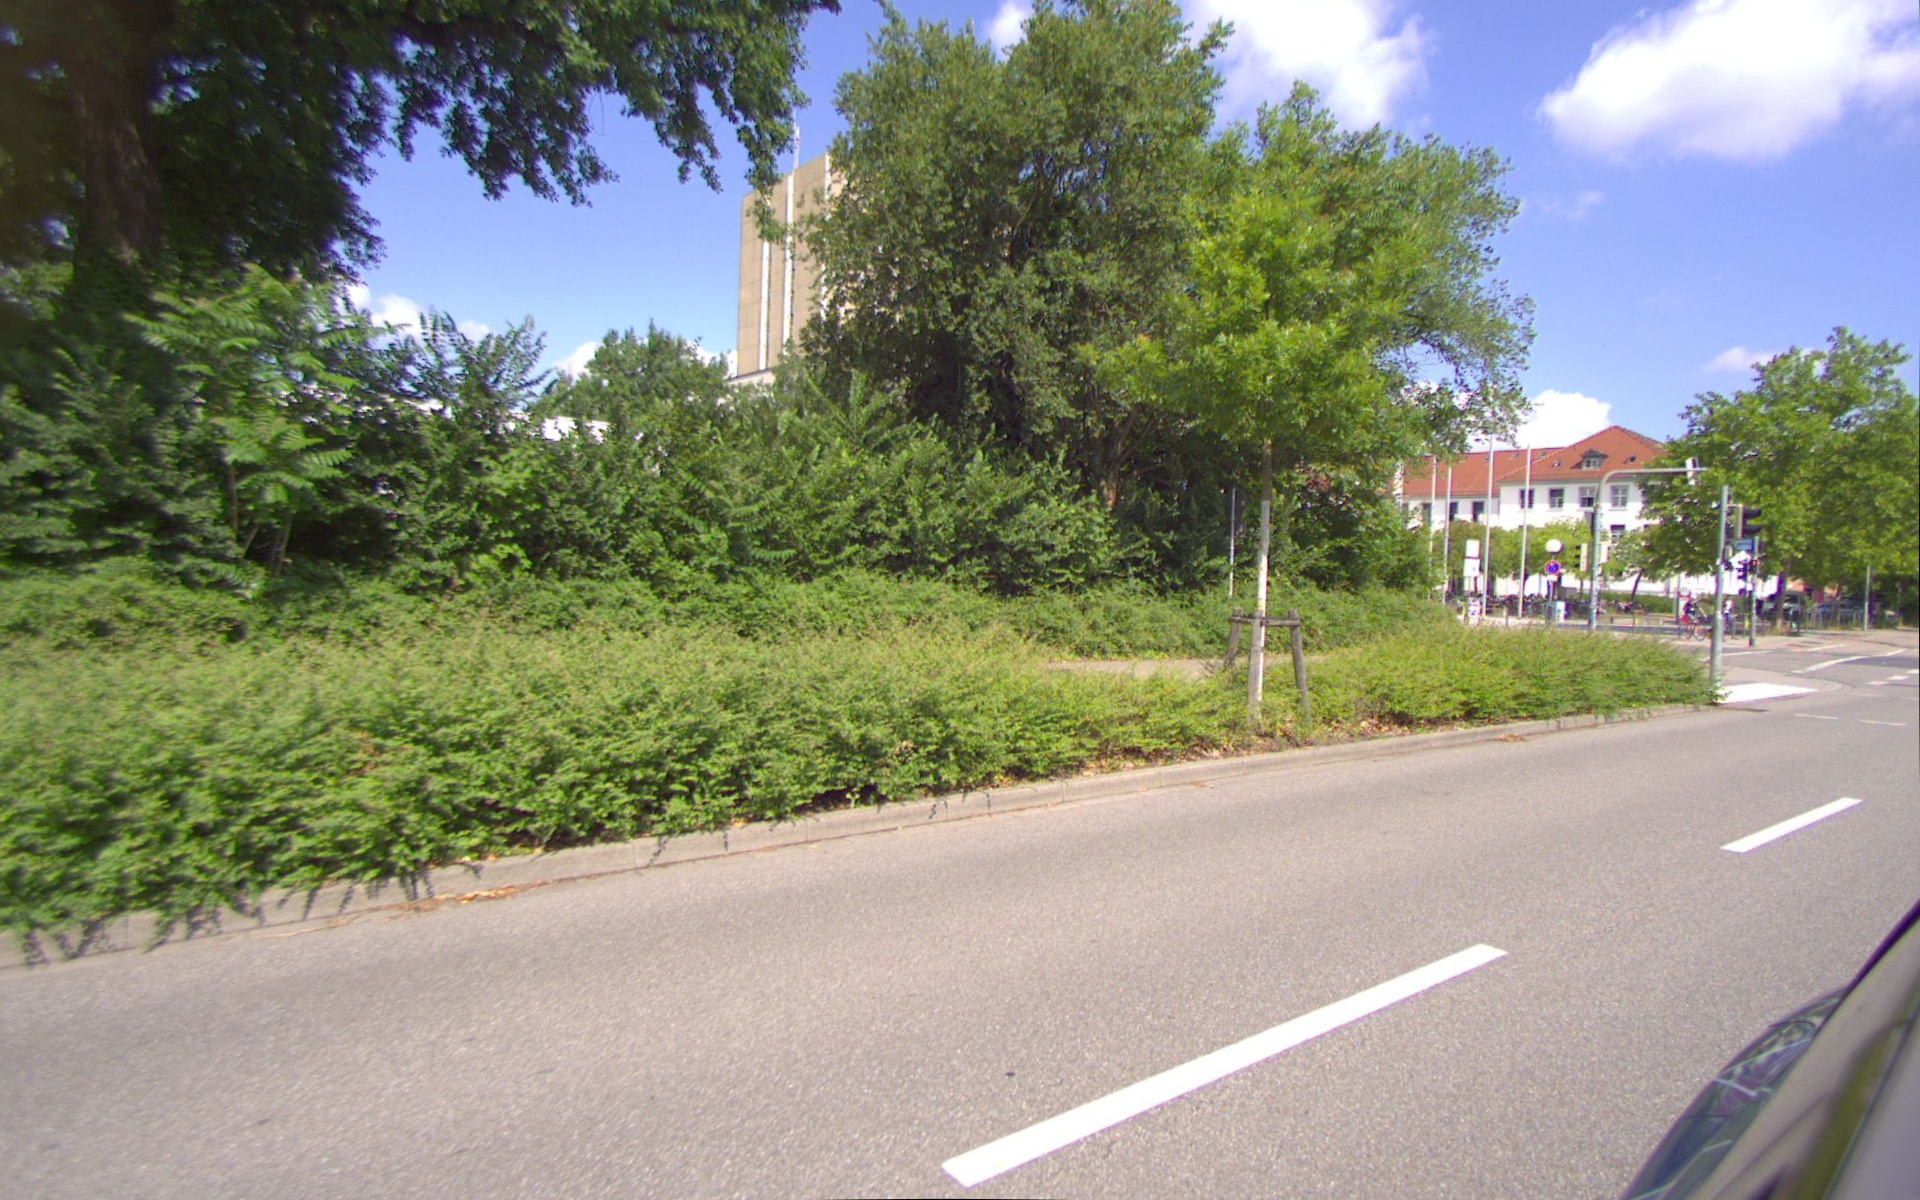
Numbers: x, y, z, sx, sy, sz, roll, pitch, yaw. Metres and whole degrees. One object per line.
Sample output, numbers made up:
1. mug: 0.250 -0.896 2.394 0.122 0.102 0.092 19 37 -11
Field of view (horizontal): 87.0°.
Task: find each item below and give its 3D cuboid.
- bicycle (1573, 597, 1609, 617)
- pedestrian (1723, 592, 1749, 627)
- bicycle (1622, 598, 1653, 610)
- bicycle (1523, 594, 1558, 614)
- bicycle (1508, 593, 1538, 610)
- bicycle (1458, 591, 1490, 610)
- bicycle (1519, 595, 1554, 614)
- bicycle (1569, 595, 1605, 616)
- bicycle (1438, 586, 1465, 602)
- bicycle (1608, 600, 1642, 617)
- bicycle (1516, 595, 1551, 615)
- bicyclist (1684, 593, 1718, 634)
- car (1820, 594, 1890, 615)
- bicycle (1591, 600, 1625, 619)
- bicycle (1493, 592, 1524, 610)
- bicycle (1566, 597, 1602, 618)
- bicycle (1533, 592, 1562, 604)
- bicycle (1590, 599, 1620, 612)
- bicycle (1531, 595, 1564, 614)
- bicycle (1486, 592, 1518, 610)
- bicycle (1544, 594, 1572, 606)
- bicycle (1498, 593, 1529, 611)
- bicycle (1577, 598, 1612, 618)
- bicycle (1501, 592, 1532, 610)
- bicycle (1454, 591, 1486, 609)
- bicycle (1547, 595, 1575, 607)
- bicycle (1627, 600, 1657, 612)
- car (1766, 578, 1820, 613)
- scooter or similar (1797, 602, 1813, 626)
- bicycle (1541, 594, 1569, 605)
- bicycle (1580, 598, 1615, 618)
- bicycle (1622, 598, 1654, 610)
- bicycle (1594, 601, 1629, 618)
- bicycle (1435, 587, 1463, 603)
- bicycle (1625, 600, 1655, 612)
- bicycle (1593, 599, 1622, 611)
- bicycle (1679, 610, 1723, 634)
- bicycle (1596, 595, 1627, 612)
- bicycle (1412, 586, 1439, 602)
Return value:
1. bicycle: 37.476 0.408 60.094 0.616 1.110 1.669 1 2 -44
2. pedestrian: 38.865 0.476 50.695 0.627 1.670 0.742 2 1 0
3. bicycle: 46.995 0.264 70.193 0.616 0.743 1.669 1 2 -44
4. bicycle: 35.005 0.253 61.046 0.616 1.110 1.669 1 2 -44
5. bicycle: 37.922 0.093 68.169 0.616 1.110 1.669 1 2 -44
6. bicycle: 32.809 0.010 64.591 0.616 1.110 1.669 1 2 -45
7. bicycle: 34.488 0.265 60.554 0.616 1.110 1.669 1 2 -44
8. bicycle: 36.978 0.316 59.656 0.616 1.110 1.669 1 2 -44
9. bicycle: 36.514 -0.441 75.152 0.616 1.110 1.669 1 2 -44
10. bicycle: 42.641 0.542 64.892 0.616 1.040 1.669 1 2 -44
11. bicycle: 33.984 0.280 60.027 0.616 1.110 1.669 1 2 -44
12. bicyclist: 28.818 0.529 39.357 0.601 1.526 0.919 2 1 3
13. car: 69.024 0.325 78.123 3.986 1.442 1.731 3 2 42
14. bicycle: 39.757 0.570 62.110 0.616 1.048 1.669 1 2 -44
15. bicycle: 35.987 0.061 66.382 0.616 1.110 1.669 1 2 -44
16. bicycle: 36.503 0.446 59.212 0.616 1.110 1.669 1 2 -44
17. bicycle: 42.525 -0.161 73.283 0.616 0.800 1.669 1 2 -44
18. bicycle: 45.079 0.360 70.750 1.668 0.800 0.617 3 2 44
19. bicycle: 36.493 0.299 62.854 0.616 1.110 1.669 1 2 -44
20. bicycle: 35.188 0.058 65.697 0.616 1.110 1.669 1 2 -44
21. bicycle: 44.439 0.004 75.153 0.616 0.800 1.669 1 2 -44
22. bicycle: 36.703 0.130 67.119 0.616 1.110 1.669 1 2 -44
23. bicycle: 38.163 0.475 60.892 0.616 1.110 1.669 1 2 -44
24. bicycle: 37.205 0.079 67.664 0.616 1.110 1.669 1 2 -44
25. bicycle: 32.340 -0.004 64.159 0.616 1.110 1.669 1 2 -45
26. bicycle: 44.945 0.064 75.707 0.616 0.800 1.669 1 2 -44
27. bicycle: 48.238 0.398 71.560 0.616 0.743 1.669 1 2 -44
28. car: 52.199 -0.264 63.376 4.821 2.038 1.996 1 2 -44
29. scooter or similar: 41.959 0.702 50.251 1.146 1.142 0.348 1 1 -39
30. bicycle: 43.651 -0.037 74.292 0.616 0.800 1.669 1 2 -44
31. bicycle: 38.640 0.470 61.361 0.616 1.110 1.669 1 2 -44
32. bicycle: 46.568 0.260 69.522 0.616 0.743 1.669 1 2 -44
33. bicycle: 40.310 0.596 62.635 0.616 0.997 1.669 1 2 -44
34. bicycle: 35.952 -0.353 74.428 0.616 1.110 1.669 1 2 -44
35. bicycle: 47.663 0.426 70.939 0.616 0.743 1.669 1 2 -44
36. bicycle: 45.598 0.360 71.278 1.668 0.800 0.617 3 2 44
37. bicycle: 28.807 0.859 39.362 0.609 0.843 1.514 2 2 2
38. bicycle: 44.687 0.223 69.400 0.616 1.110 1.669 1 2 -44
39. bicycle: 33.712 -0.422 73.327 0.616 1.110 1.669 1 2 -44
